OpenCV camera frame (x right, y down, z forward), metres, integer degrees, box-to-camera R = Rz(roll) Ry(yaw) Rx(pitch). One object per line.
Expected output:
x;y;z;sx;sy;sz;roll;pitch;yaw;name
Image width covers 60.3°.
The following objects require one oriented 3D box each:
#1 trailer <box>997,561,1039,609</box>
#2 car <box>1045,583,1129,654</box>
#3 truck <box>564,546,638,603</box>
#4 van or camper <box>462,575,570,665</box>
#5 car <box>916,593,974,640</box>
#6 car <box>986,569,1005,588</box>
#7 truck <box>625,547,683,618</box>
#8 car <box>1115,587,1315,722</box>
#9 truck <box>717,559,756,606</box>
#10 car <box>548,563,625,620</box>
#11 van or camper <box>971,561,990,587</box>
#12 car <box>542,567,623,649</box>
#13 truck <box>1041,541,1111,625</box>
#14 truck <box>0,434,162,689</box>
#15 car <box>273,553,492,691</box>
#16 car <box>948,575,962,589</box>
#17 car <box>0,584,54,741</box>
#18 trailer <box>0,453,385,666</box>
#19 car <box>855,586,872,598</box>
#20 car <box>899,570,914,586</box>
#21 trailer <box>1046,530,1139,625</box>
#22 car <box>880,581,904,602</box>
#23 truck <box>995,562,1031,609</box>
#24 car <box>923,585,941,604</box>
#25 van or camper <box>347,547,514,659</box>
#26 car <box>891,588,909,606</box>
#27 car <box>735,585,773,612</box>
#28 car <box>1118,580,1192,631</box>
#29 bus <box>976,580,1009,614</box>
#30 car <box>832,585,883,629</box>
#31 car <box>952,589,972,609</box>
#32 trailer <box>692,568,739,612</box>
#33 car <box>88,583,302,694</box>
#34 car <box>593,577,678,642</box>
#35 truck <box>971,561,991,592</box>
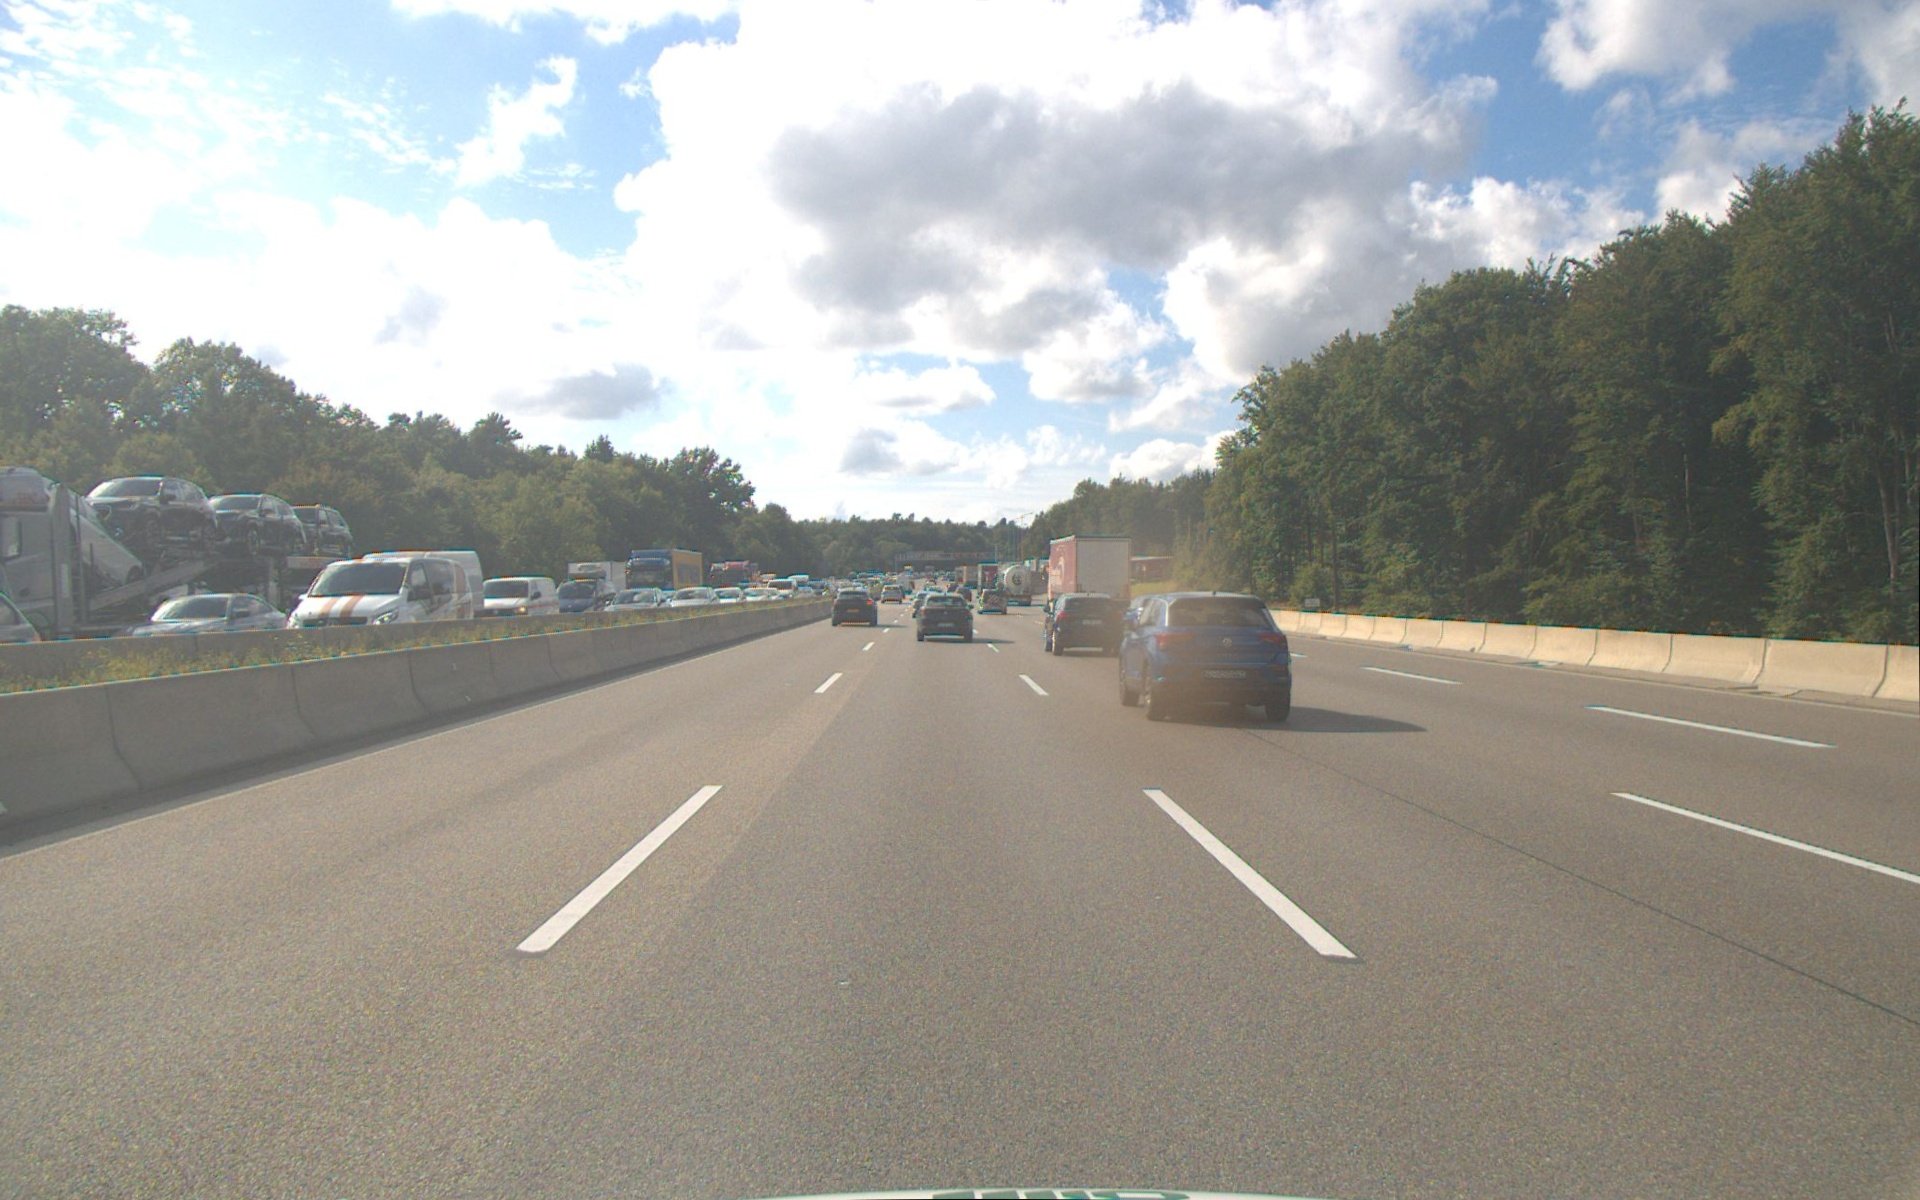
5.108;-1.284;147.934;2.975;4.086;12.241;0;0;-2;trailer
3.155;0.445;41.747;1.763;1.673;3.999;1;0;-1;car
-19.053;-1.338;88.227;2.281;2.850;7.947;2;0;-1;truck
-14.433;0.665;54.087;2.003;2.758;5.749;1;-1;-1;van or camper
-0.508;0.499;51.572;1.699;1.389;3.998;1;0;-2;car
3.915;-2.371;182.465;1.953;2.049;3.999;1;-1;-1;car
-18.869;-1.034;102.353;2.681;4.221;5.614;1;-1;-2;truck
3.186;0.623;21.580;1.885;1.568;4.645;0;0;0;car
-19.967;-1.555;147.887;2.720;4.007;6.850;1;1;-2;truck
-13.977;-0.281;62.108;1.953;2.049;4.655;1;-1;-2;car
2.675;-3.390;216.095;2.303;3.199;5.710;1;-1;0;van or camper
-14.695;0.292;64.683;1.953;3.015;5.401;2;0;-1;car
5.948;-0.807;85.523;3.018;4.135;6.067;1;-1;-1;truck
-17.612;-0.691;30.759;2.795;4.308;5.711;1;0;-1;truck
-9.802;0.377;28.589;1.953;2.137;5.277;1;-1;-1;car
-0.792;-2.668;249.685;1.953;2.049;3.999;1;0;-1;car
-9.371;0.546;13.573;1.661;1.396;4.000;1;0;0;car
-17.863;-0.758;39.761;2.773;4.044;16.001;1;0;-1;trailer
-13.005;-1.134;223.429;1.953;1.600;4.815;0;1;0;car
-7.201;-2.961;223.004;1.953;2.049;3.999;1;0;-1;car
6.123;-0.894;78.776;2.977;4.106;13.885;1;-1;-1;trailer
-6.217;-0.755;152.019;2.111;1.807;3.999;1;0;-1;car
4.965;-1.325;155.434;2.984;4.233;7.125;0;0;-1;truck
-3.177;-0.562;187.238;1.953;2.049;3.999;-1;-1;-1;car
-14.024;0.117;44.312;2.342;2.758;6.630;1;-1;-1;van or camper
-6.682;-0.349;185.483;1.953;2.049;3.999;1;0;-1;car
-11.216;-0.085;90.272;1.721;1.401;3.998;1;0;-2;car
6.102;0.171;52.138;1.680;1.537;4.300;-1;0;-2;car
2.030;-0.164;104.731;1.953;2.049;3.999;1;-1;-1;bus
-4.389;0.293;71.473;1.953;1.807;3.999;1;0;-1;car
0.206;-0.098;171.682;1.953;2.049;3.999;1;0;-1;car
-24.273;-1.055;164.733;2.752;4.191;14.040;1;1;-1;trailer
-14.117;0.662;30.852;1.872;1.908;4.696;0;0;-1;car
-10.616;0.322;54.432;1.953;2.049;4.408;0;-1;-1;car
2.641;-2.895;209.297;2.310;3.635;11.265;1;-1;0;truck
